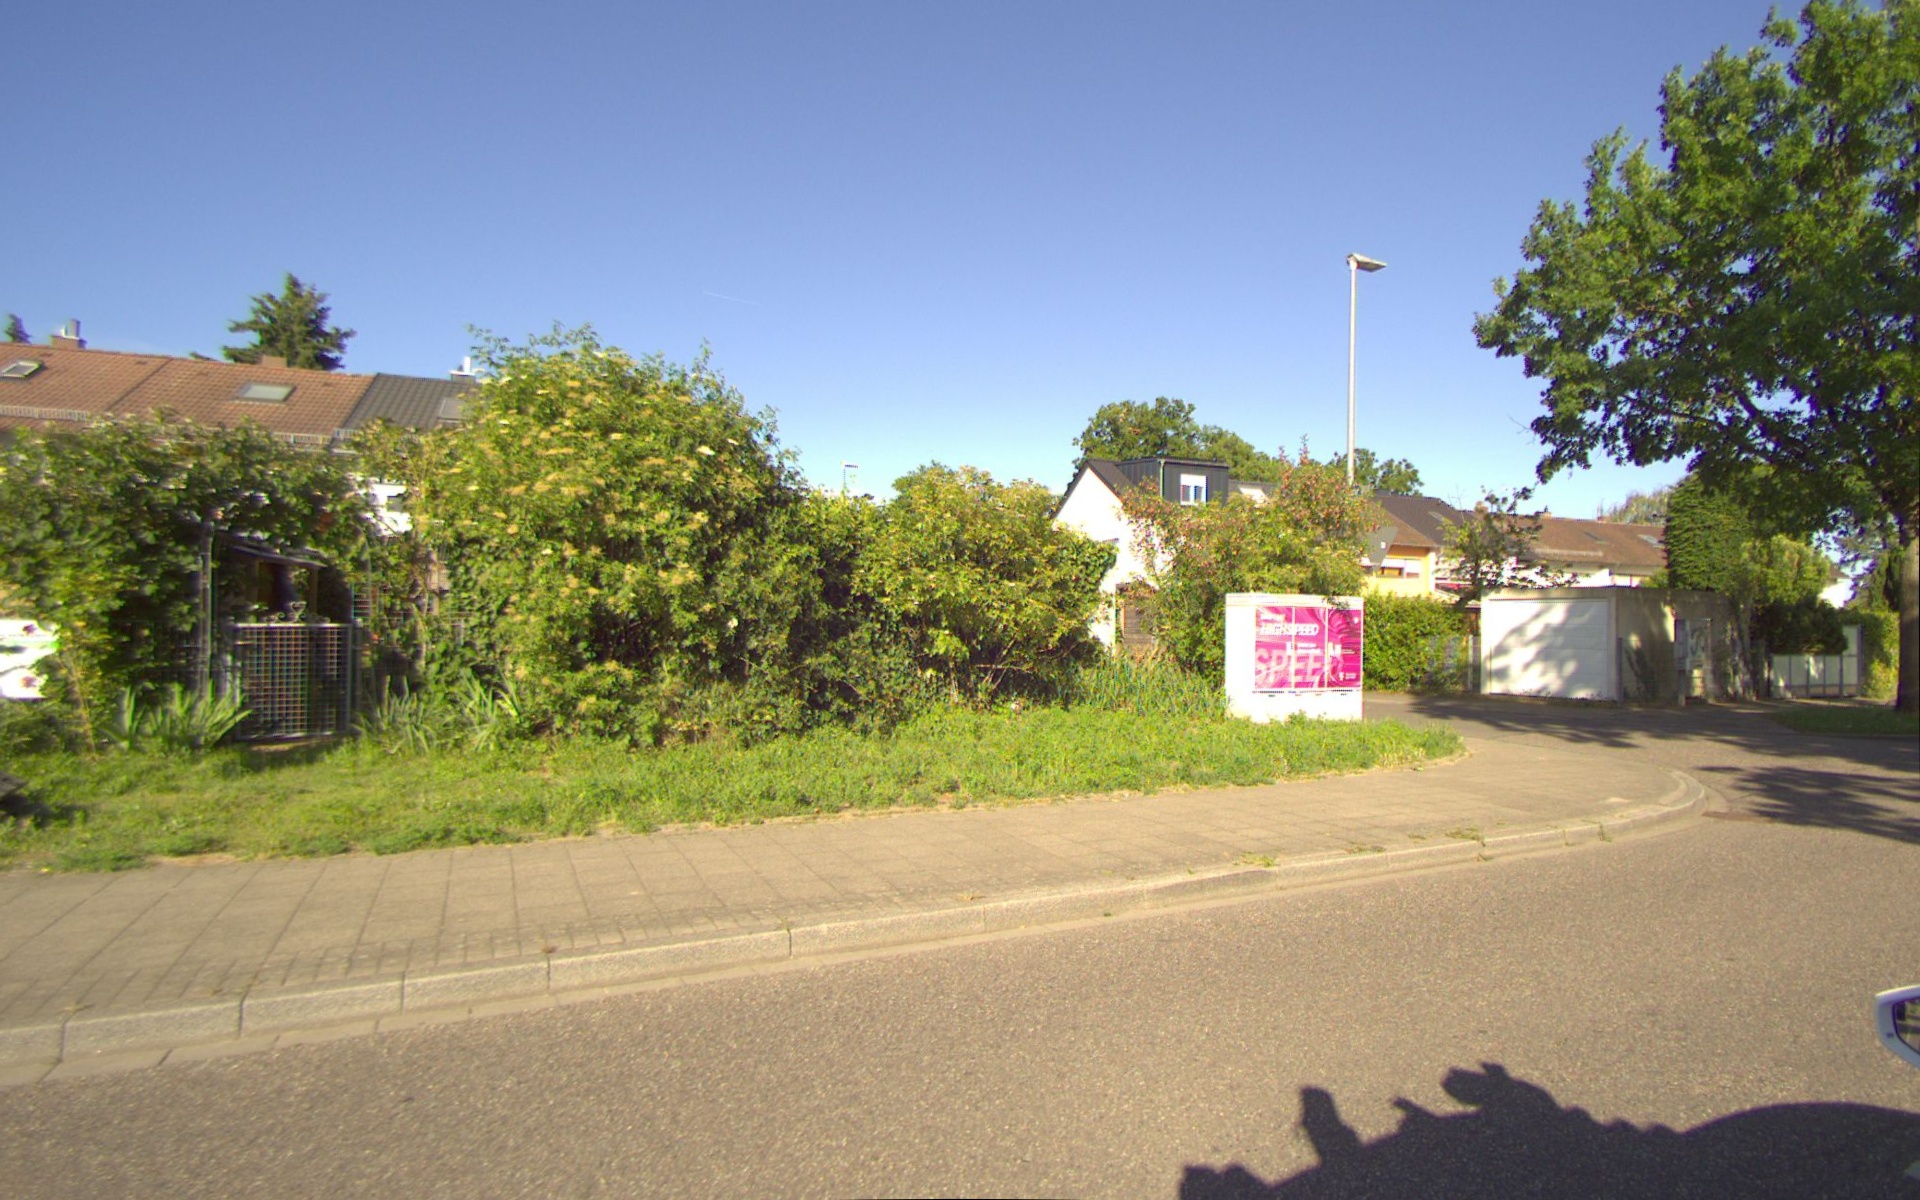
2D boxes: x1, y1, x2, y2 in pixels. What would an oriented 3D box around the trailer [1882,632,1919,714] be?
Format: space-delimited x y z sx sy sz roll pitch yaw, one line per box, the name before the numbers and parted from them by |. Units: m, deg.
trailer | 20.957 1.522 20.493 1.382 1.677 2.948 2 -2 -34
